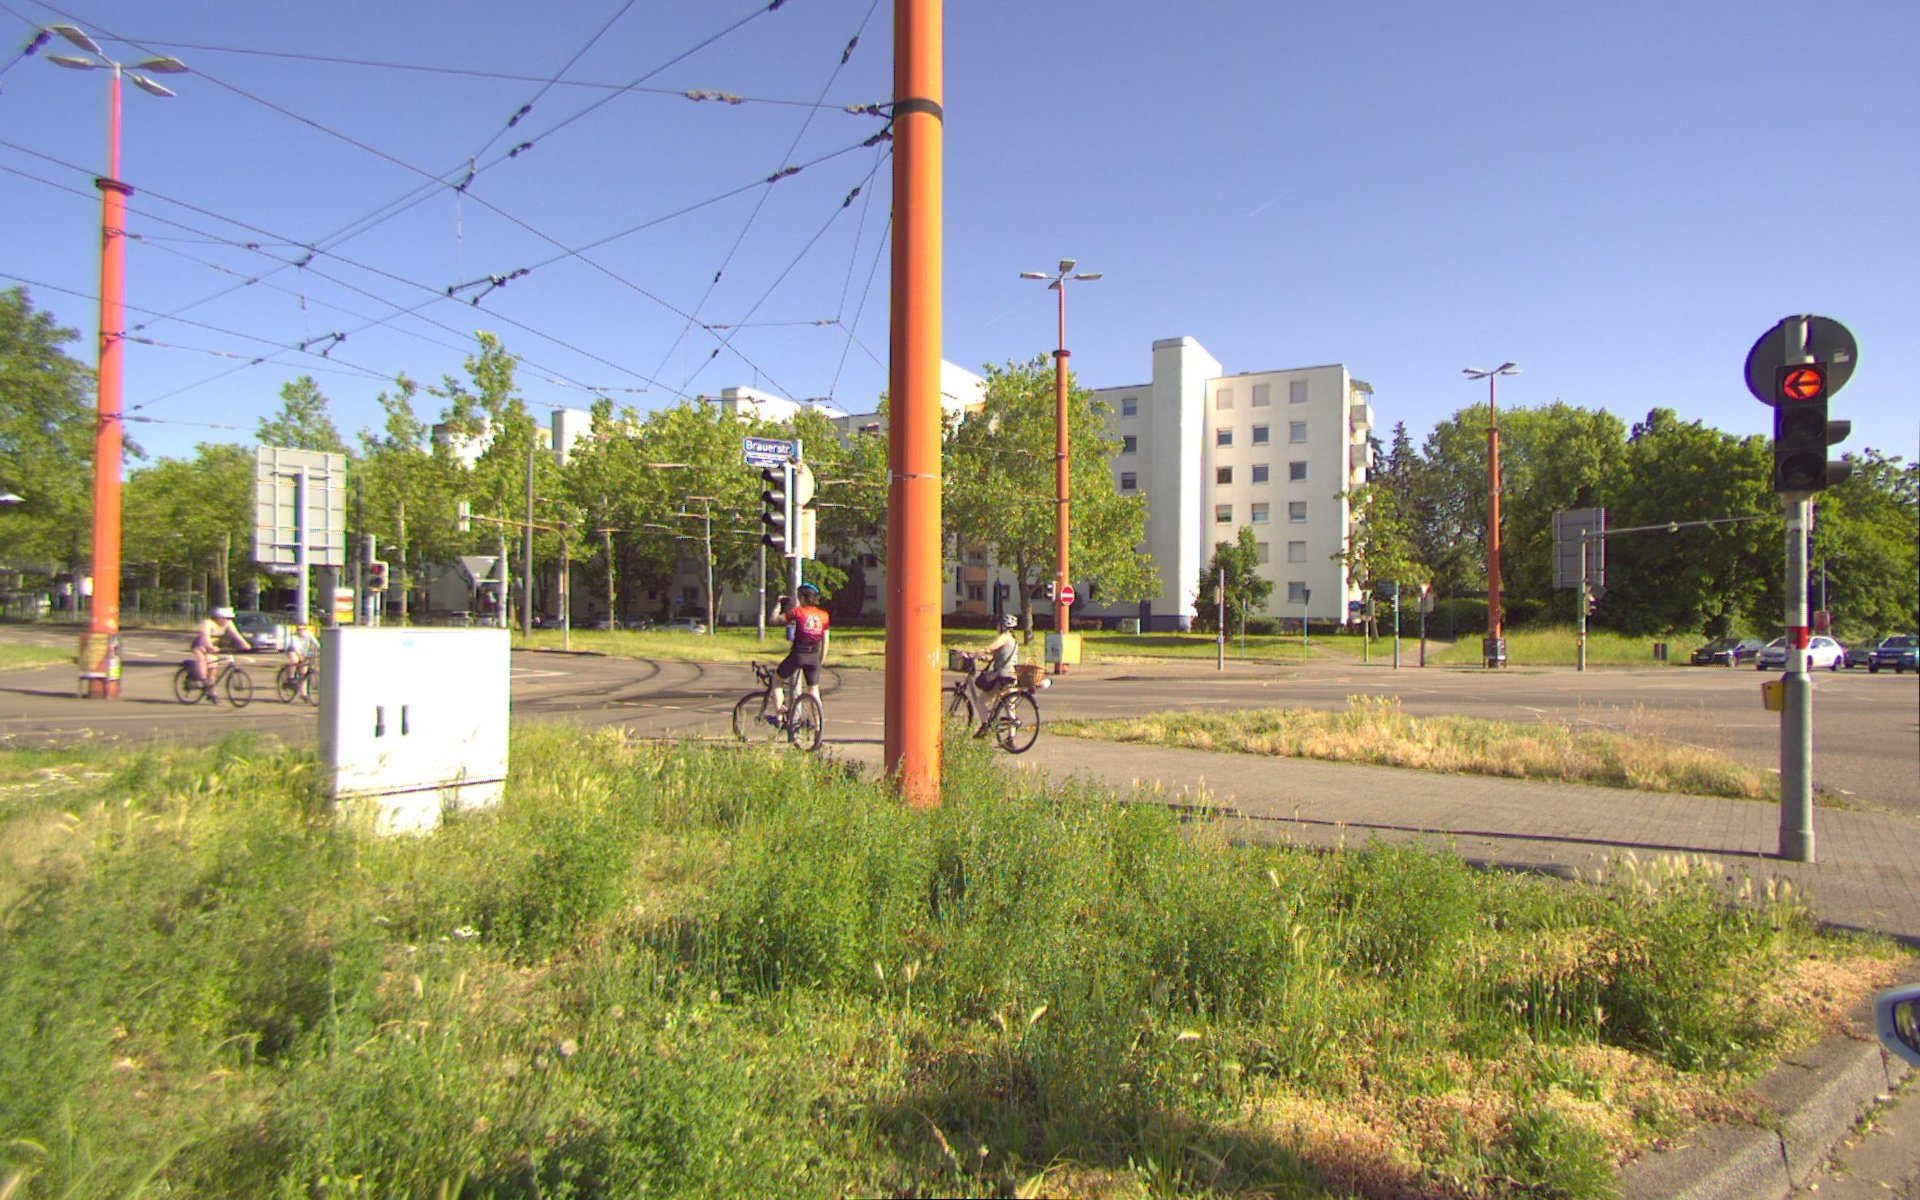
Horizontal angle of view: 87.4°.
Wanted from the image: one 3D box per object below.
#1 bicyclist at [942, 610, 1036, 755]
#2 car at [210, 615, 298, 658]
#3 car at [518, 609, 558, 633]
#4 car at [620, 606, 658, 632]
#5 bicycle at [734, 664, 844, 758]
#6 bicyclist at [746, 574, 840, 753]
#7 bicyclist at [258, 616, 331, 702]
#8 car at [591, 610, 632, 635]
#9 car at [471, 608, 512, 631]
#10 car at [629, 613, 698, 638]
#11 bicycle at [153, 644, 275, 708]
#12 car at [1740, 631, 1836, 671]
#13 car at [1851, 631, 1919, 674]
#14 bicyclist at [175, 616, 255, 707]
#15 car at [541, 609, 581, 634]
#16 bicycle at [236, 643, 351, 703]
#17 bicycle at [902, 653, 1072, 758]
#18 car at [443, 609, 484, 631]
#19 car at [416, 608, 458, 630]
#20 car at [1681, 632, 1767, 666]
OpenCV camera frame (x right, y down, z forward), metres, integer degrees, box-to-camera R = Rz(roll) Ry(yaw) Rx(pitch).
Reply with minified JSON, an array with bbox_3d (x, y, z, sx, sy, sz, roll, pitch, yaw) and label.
[{"bbox_3d":[0.361,0.954,12.097,0.728,1.659,0.931,0,-1,35],"label":"bicyclist"},{"bbox_3d":[-28.277,1.423,40.212,3.848,1.615,1.935,0,-2,39],"label":"car"},{"bbox_3d":[-33.811,1.667,80.526,1.963,1.840,3.995,1,-1,-8],"label":"car"},{"bbox_3d":[-23.405,1.396,73.416,1.963,1.840,3.995,1,-1,-8],"label":"car"},{"bbox_3d":[-2.113,1.304,12.236,0.915,0.976,1.747,1,-1,-24],"label":"bicycle"},{"bbox_3d":[-2.004,0.742,12.005,0.921,2.040,0.736,1,-1,-25],"label":"bicyclist"},{"bbox_3d":[-13.210,1.158,19.968,0.726,1.659,0.934,0,-1,18],"label":"bicyclist"},{"bbox_3d":[-26.112,1.683,75.327,1.962,1.840,3.997,1,-1,-5],"label":"car"},{"bbox_3d":[-39.287,1.637,84.324,1.963,1.840,3.995,1,-1,-8],"label":"car"},{"bbox_3d":[-17.660,1.501,59.831,4.153,1.471,1.793,0,-1,36],"label":"car"},{"bbox_3d":[-14.027,1.408,18.895,1.849,1.102,0.928,0,-1,18],"label":"bicycle"},{"bbox_3d":[35.144,2.150,42.608,4.075,1.594,1.983,1,-1,-32],"label":"car"},{"bbox_3d":[37.268,2.038,39.867,4.079,1.594,1.981,2,-1,-35],"label":"car"},{"bbox_3d":[-14.001,1.130,18.896,0.726,1.659,0.934,0,-1,18],"label":"bicyclist"},{"bbox_3d":[-31.195,1.672,78.677,1.963,1.840,3.995,1,-1,-8],"label":"car"},{"bbox_3d":[-13.250,1.439,19.980,1.849,1.102,0.928,0,-1,18],"label":"bicycle"},{"bbox_3d":[0.316,1.223,12.121,1.855,1.102,0.925,0,-1,34],"label":"bicycle"},{"bbox_3d":[-42.676,1.695,86.445,1.963,1.840,3.995,1,-1,-8],"label":"car"},{"bbox_3d":[-46.025,1.671,88.474,1.963,1.840,3.995,1,-1,-8],"label":"car"},{"bbox_3d":[38.022,2.422,49.972,4.171,1.619,1.984,1,-1,-30],"label":"car"}]
